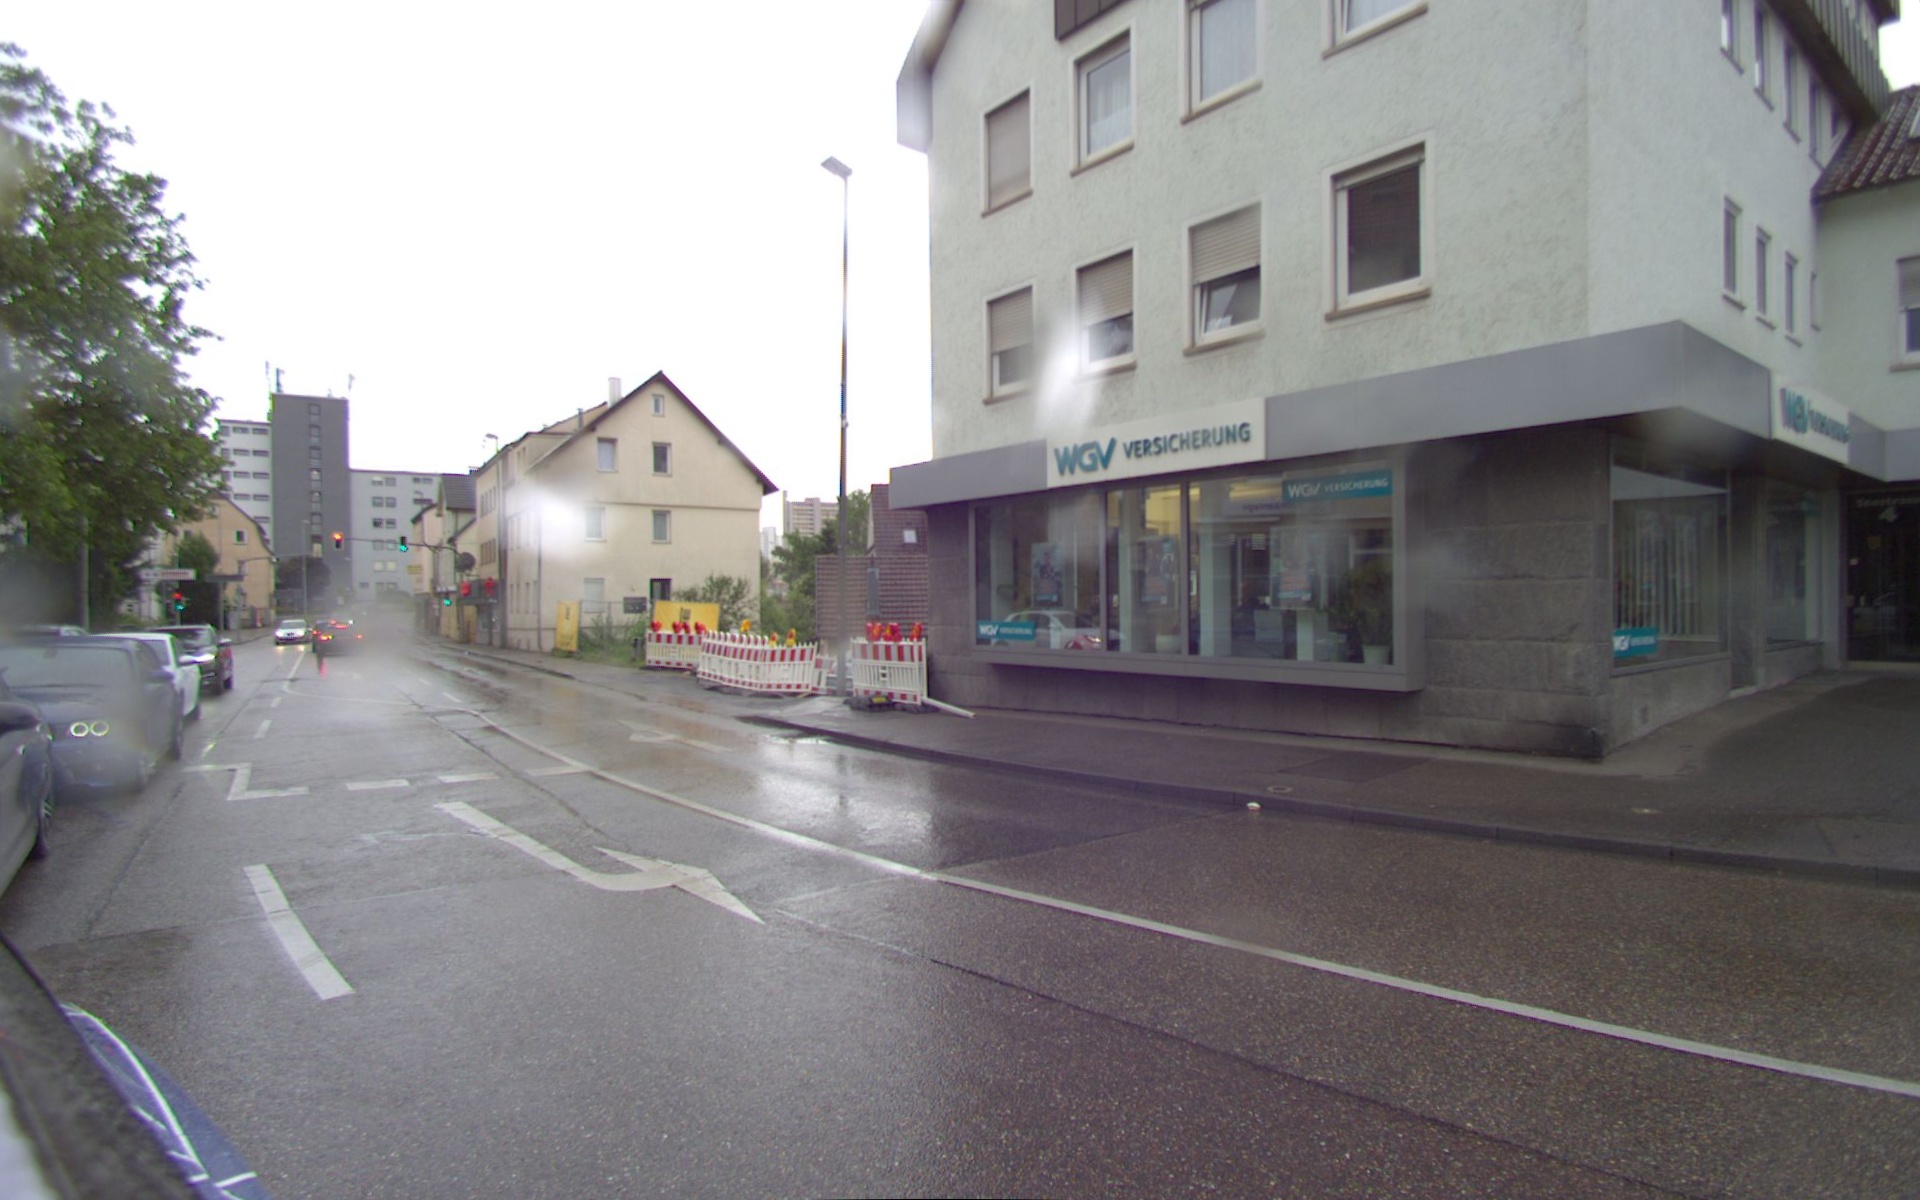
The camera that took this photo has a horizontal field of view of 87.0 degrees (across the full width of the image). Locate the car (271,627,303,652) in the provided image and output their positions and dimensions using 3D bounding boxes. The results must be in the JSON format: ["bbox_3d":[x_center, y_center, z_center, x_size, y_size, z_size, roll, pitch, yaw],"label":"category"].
[{"bbox_3d":[-43.253,2.513,65.097,1.589,1.515,3.728,-2,0,-32],"label":"car"}]

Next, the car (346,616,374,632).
[{"bbox_3d":[-62.655,2.500,105.700,1.763,1.577,3.847,-1,-1,-19],"label":"car"}]

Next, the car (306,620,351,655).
[{"bbox_3d":[-32.019,1.892,51.267,1.791,1.657,4.287,-1,-1,-34],"label":"car"}]

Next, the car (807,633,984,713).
[{"bbox_3d":[-1.329,1.605,21.726,3.456,1.401,1.653,10,-10,-41],"label":"car"}]

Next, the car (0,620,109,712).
[{"bbox_3d":[-20.084,1.346,21.765,1.904,1.794,4.748,0,-2,-30],"label":"car"}]

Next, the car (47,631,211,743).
[{"bbox_3d":[-12.680,1.224,15.645,1.660,1.432,4.010,-1,-1,-35],"label":"car"}]

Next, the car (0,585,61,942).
[{"bbox_3d":[-5.613,0.770,4.755,1.792,1.583,4.284,-1,-1,-38],"label":"car"}]

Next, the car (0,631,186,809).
[{"bbox_3d":[-8.792,1.031,9.886,1.615,1.443,3.816,1,-2,-33],"label":"car"}]

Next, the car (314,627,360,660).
[{"bbox_3d":[-28.303,1.926,45.938,1.684,1.394,3.679,-1,-1,-33],"label":"car"}]

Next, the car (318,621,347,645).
[{"bbox_3d":[-53.004,2.779,85.486,1.765,1.866,3.844,-1,-1,-36],"label":"car"}]

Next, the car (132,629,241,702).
[{"bbox_3d":[-17.815,1.432,23.459,1.659,1.472,4.011,-1,-1,-32],"label":"car"}]
